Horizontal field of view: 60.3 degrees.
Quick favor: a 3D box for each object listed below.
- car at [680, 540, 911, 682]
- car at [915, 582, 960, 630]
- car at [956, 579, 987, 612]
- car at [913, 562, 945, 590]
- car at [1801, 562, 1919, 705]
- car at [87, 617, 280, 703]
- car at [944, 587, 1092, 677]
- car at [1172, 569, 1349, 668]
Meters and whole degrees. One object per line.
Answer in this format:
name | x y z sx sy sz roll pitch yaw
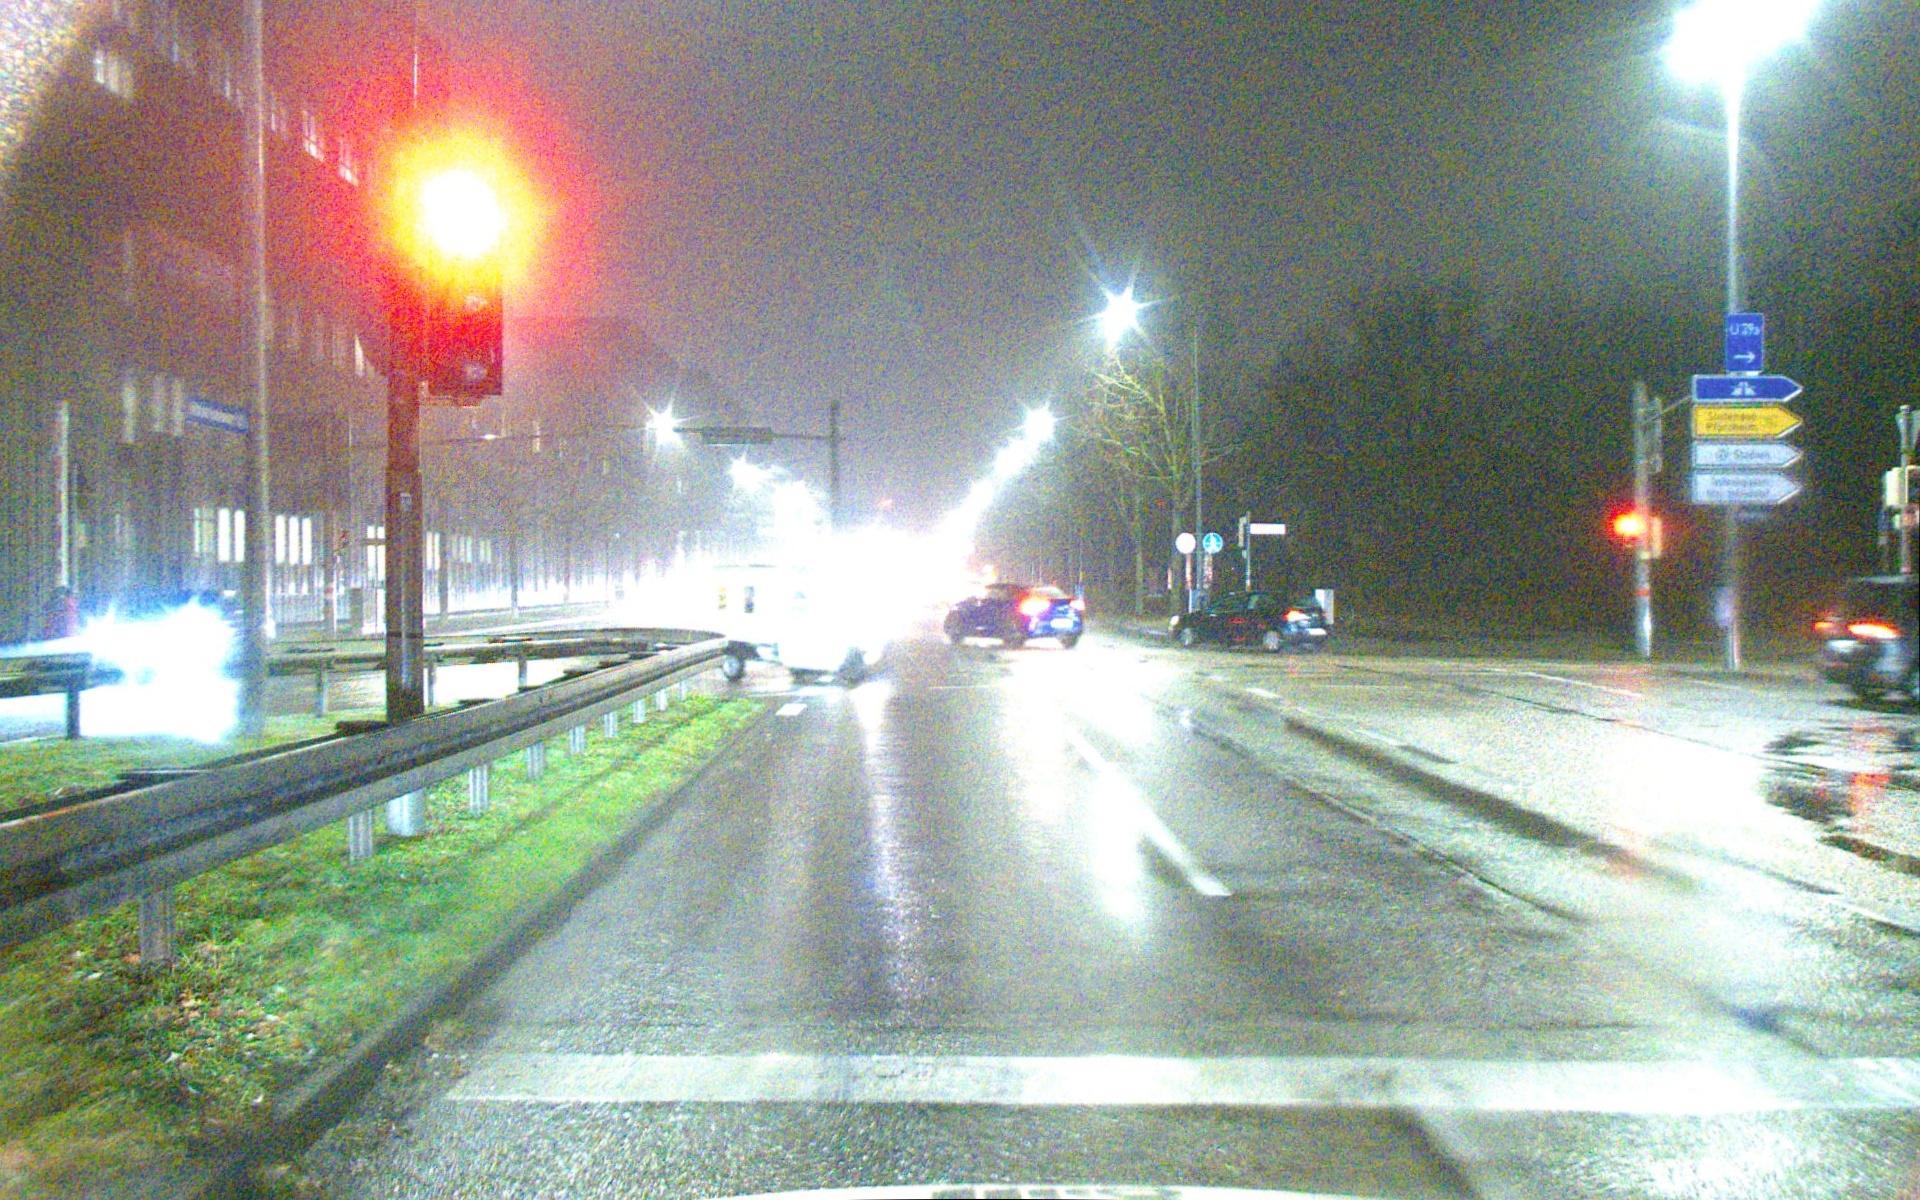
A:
car | -2.591 0.168 25.641 3.505 2.049 1.693 0 -1 43
car | -1.015 0.286 76.180 1.996 2.119 4.306 0 0 0
car | 0.767 -0.267 107.068 1.996 2.049 4.307 0 0 1
car | -2.578 -1.946 135.630 2.393 2.232 5.075 0 0 -4
car | 13.152 0.418 20.644 4.310 1.702 1.960 0 -1 4
car | -14.528 1.083 31.204 1.787 1.490 3.999 0 0 -1
car | 1.349 0.735 39.876 1.969 2.049 3.967 1 -1 -26
car | 7.167 0.429 39.563 3.577 2.253 2.202 0 -1 42
